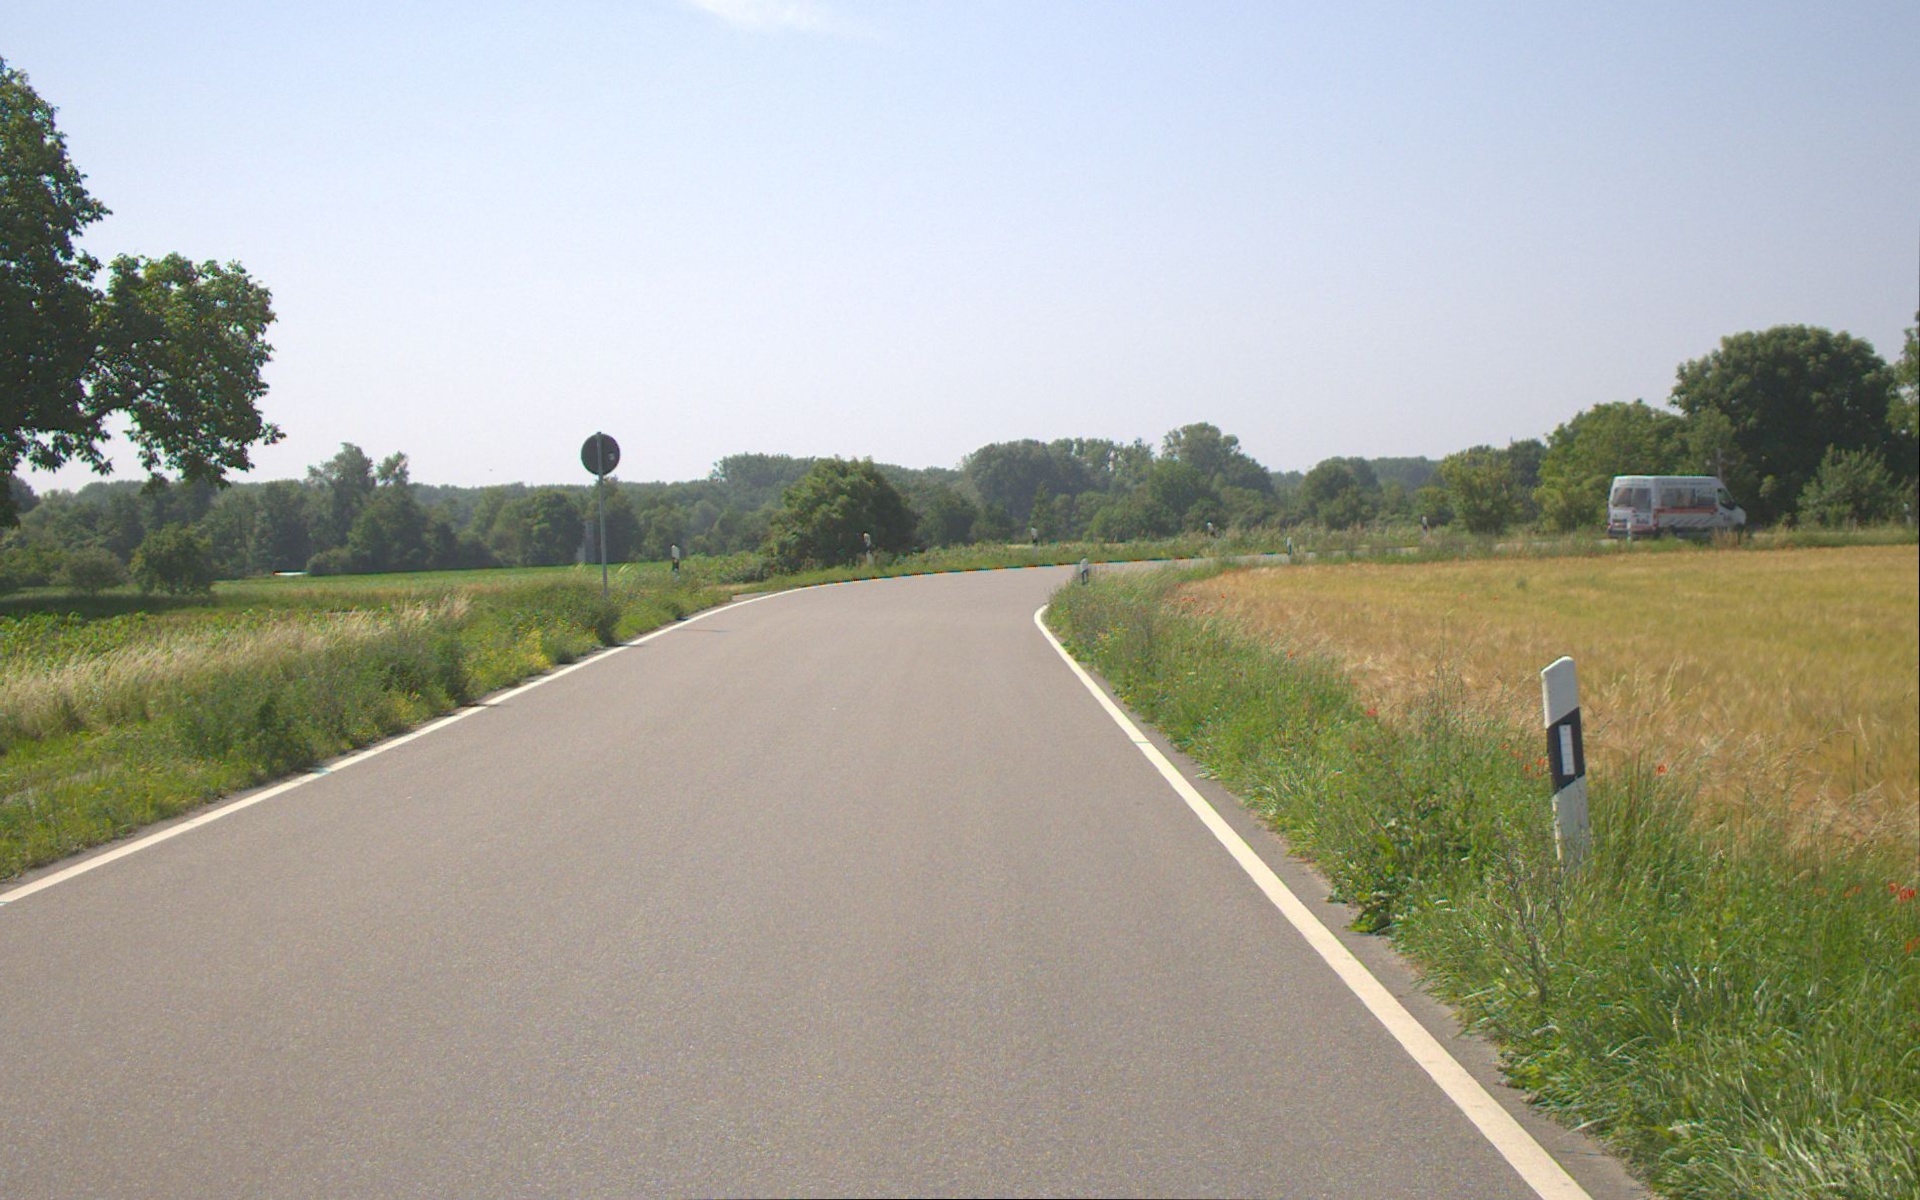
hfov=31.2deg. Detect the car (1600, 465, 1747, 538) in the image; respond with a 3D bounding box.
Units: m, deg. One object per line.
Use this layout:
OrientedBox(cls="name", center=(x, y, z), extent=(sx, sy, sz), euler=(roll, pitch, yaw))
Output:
OrientedBox(cls="car", center=(24.891, -3.445, 119.829), extent=(5.672, 2.359, 2.109), euler=(-4, 2, -44))
